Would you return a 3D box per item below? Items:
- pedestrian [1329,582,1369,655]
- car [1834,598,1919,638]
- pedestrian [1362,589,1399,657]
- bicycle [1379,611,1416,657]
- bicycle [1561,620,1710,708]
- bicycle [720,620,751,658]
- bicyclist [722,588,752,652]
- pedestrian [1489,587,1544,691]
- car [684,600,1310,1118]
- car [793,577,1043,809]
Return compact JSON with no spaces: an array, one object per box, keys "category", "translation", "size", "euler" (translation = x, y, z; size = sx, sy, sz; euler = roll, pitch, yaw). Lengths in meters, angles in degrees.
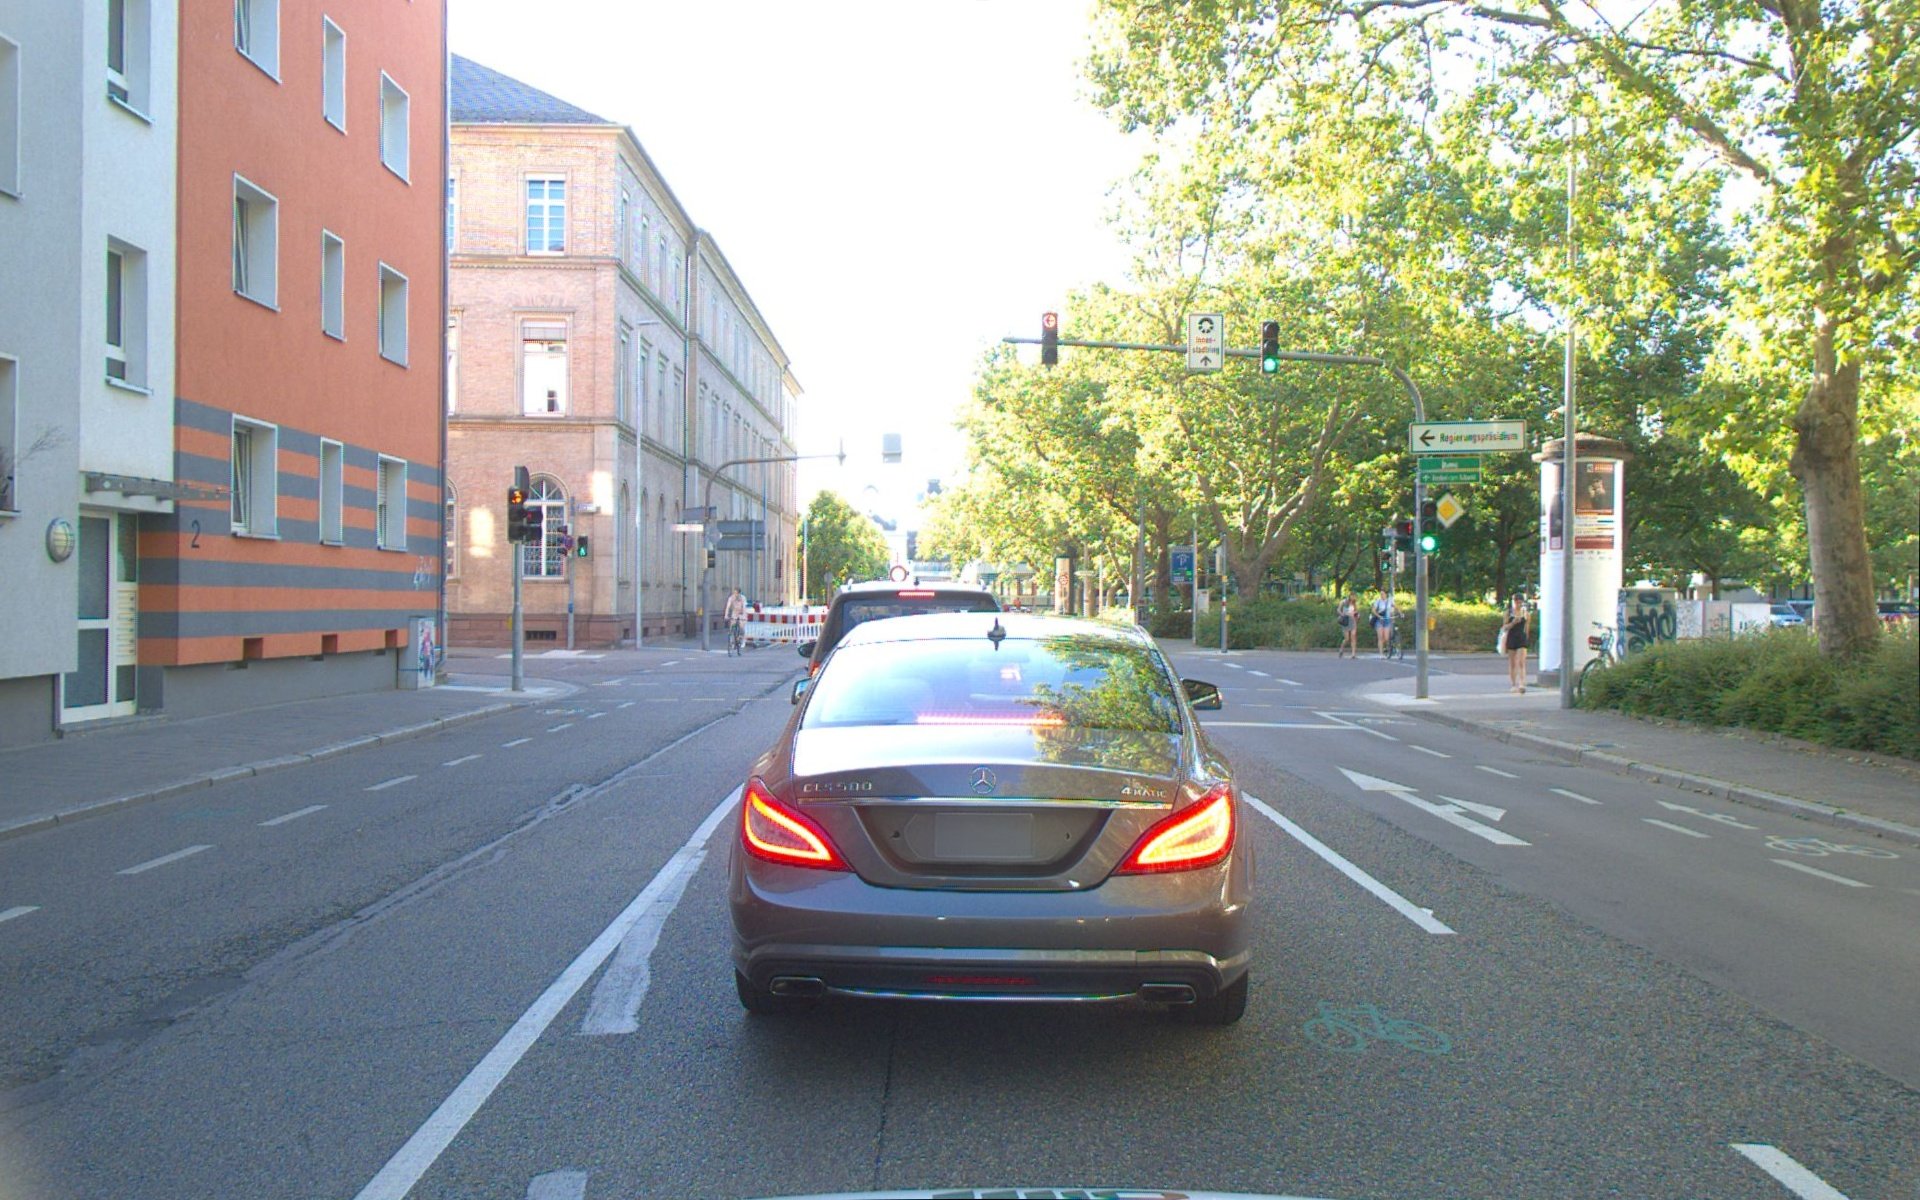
[{"category":"pedestrian","translation":[9.965,0.483,42.392],"size":[0.718,1.840,0.907],"euler":[0,-1,-7]},{"category":"car","translation":[36.261,0.698,65.150],"size":[1.596,1.508,3.794],"euler":[1,0,-2]},{"category":"pedestrian","translation":[10.756,0.586,42.324],"size":[0.669,1.727,0.970],"euler":[1,0,-1]},{"category":"bicycle","translation":[11.129,0.853,42.081],"size":[0.513,1.119,1.741],"euler":[1,0,1]},{"category":"bicycle","translation":[9.692,0.911,23.761],"size":[1.936,1.210,0.528],"euler":[1,-1,-2]},{"category":"bicycle","translation":[-5.627,0.965,41.601],"size":[0.537,0.906,1.867],"euler":[1,0,-1]},{"category":"bicyclist","translation":[-5.616,0.498,41.645],"size":[0.635,1.586,0.806],"euler":[1,-1,-2]},{"category":"pedestrian","translation":[9.145,0.638,27.197],"size":[0.781,1.659,0.908],"euler":[-1,-1,16]},{"category":"car","translation":[0.289,0.755,7.069],"size":[1.804,1.454,4.520],"euler":[1,0,5]},{"category":"car","translation":[-0.270,0.666,13.721],"size":[1.772,1.641,4.000],"euler":[0,0,1]}]
